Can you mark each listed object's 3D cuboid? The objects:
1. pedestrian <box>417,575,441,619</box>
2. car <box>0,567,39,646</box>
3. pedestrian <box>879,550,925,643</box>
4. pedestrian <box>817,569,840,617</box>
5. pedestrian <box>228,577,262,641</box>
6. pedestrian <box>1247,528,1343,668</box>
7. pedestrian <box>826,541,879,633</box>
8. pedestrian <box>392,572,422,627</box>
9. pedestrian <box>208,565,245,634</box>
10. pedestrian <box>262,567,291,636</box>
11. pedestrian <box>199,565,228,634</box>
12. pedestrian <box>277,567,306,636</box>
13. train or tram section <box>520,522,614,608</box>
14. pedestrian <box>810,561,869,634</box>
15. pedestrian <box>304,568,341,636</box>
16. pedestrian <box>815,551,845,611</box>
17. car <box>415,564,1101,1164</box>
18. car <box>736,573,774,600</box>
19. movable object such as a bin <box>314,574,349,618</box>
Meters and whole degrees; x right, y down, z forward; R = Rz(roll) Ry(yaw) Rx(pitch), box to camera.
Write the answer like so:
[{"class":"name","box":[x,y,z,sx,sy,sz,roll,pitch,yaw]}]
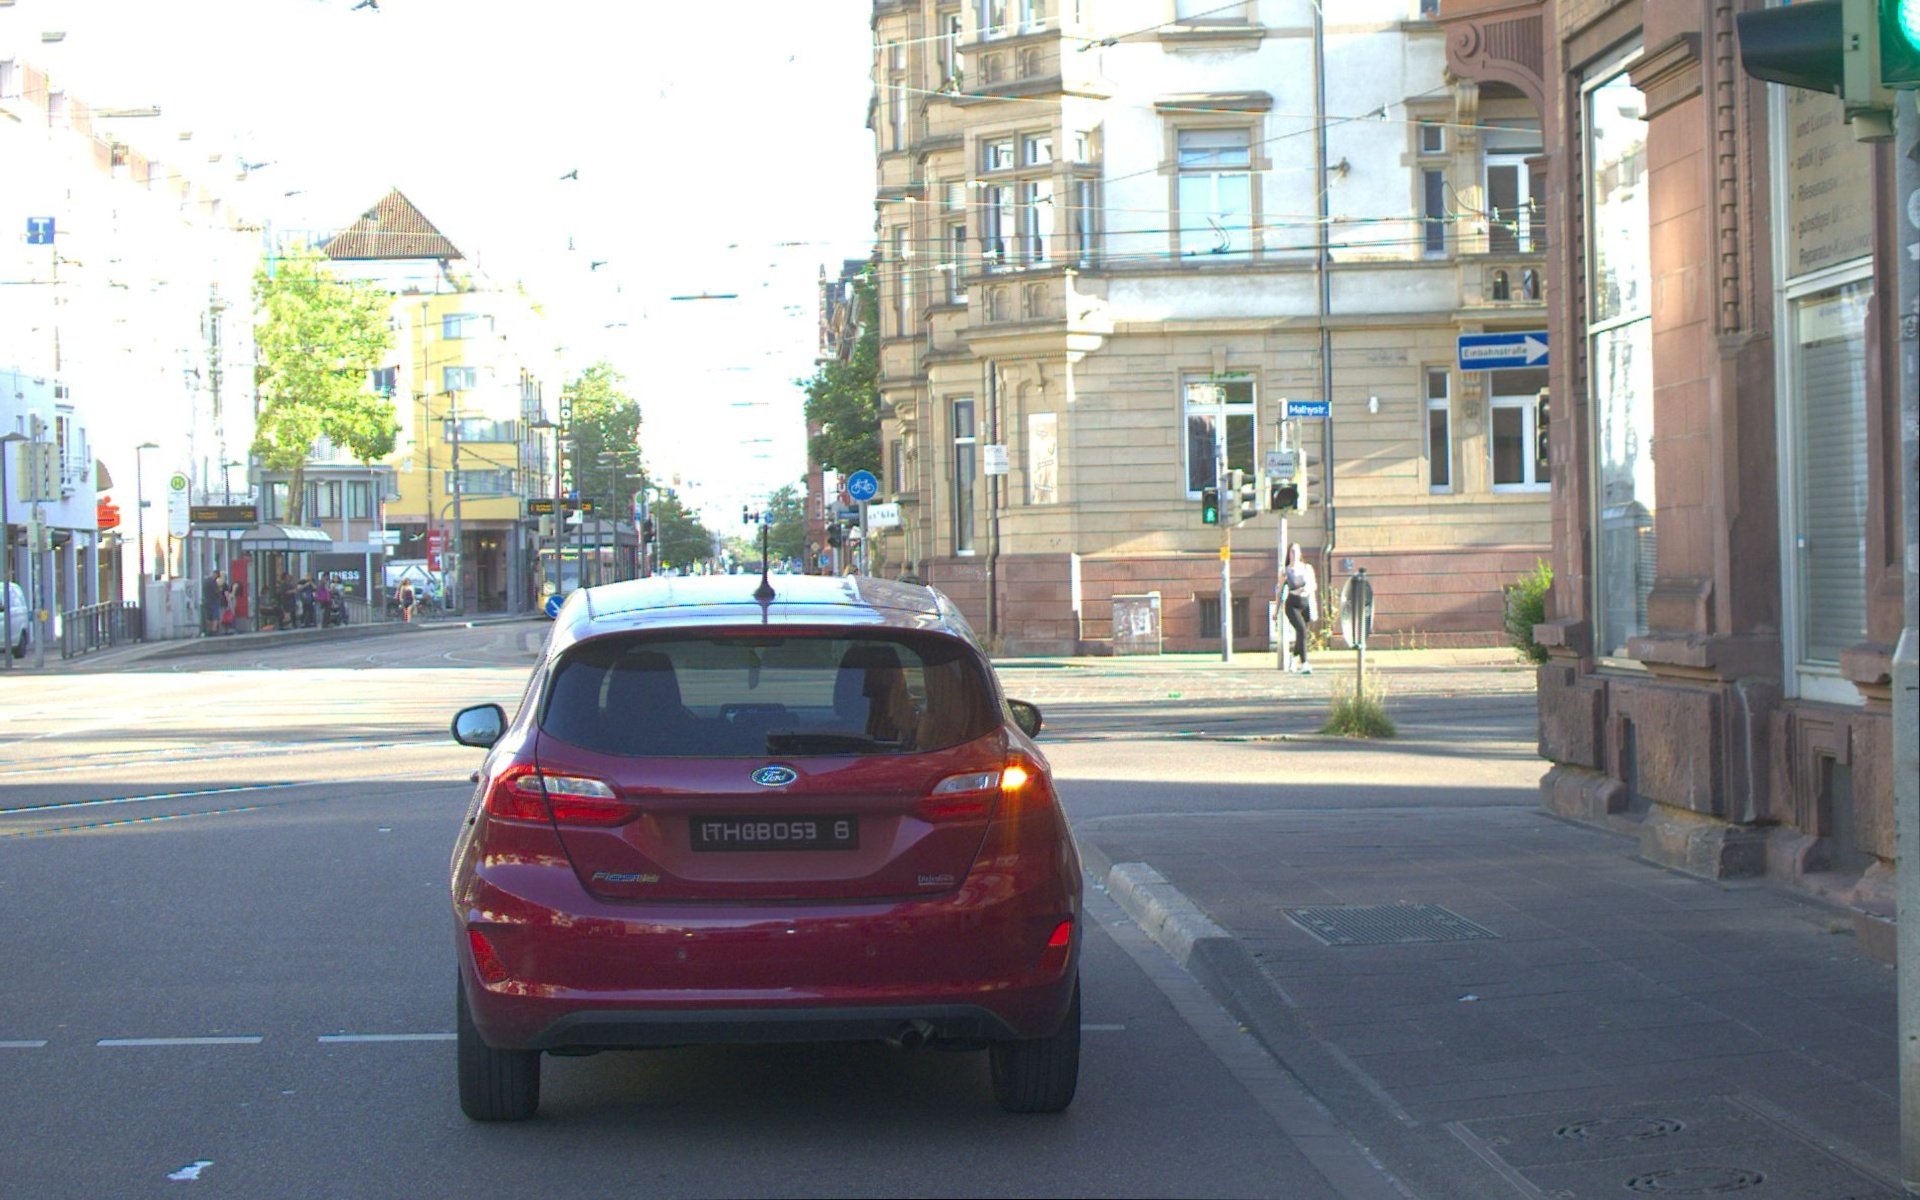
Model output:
[{"class":"pedestrian","box":[-23.414,-0.128,151.681,0.878,1.898,0.935,-1,0,-19]},{"class":"car","box":[-23.513,0.164,81.857,1.993,1.831,5.347,-1,1,-3]},{"class":"pedestrian","box":[-1.179,-0.080,69.573,0.800,1.817,0.797,-3,1,-3]},{"class":"pedestrian","box":[-5.037,-0.280,131.289,0.713,1.768,0.773,-4,2,-6]},{"class":"pedestrian","box":[-18.959,0.239,91.143,0.695,1.685,0.672,-1,0,-26]},{"class":"pedestrian","box":[4.410,-0.032,45.372,1.023,1.801,1.083,-1,1,-6]},{"class":"pedestrian","box":[-2.065,-0.250,65.977,0.794,1.715,0.720,-2,-1,-16]},{"class":"pedestrian","box":[-19.349,-0.029,120.220,0.878,1.898,0.935,-1,0,-19]},{"class":"pedestrian","box":[-18.574,-0.017,87.082,0.765,1.727,0.519,-1,0,39]},{"class":"pedestrian","box":[-18.892,0.038,94.988,0.695,1.898,0.672,-1,0,-5]},{"class":"pedestrian","box":[-18.477,-0.019,85.079,0.599,1.686,0.613,-1,0,-3]},{"class":"pedestrian","box":[-18.650,0.041,95.868,0.695,1.898,0.672,-1,0,-5]},{"class":"train or tram section","box":[-16.884,-1.490,148.540,2.885,3.478,14.169,-1,0,-2]},{"class":"pedestrian","box":[-2.280,-0.045,65.123,0.719,1.327,0.795,-3,-1,43]},{"class":"pedestrian","box":[-18.047,0.049,97.395,0.931,1.898,0.881,-1,0,-5]},{"class":"pedestrian","box":[-3.673,-0.538,97.022,0.762,1.640,0.832,-3,1,-3]},{"class":"car","box":[-0.654,0.651,10.384,1.692,1.490,3.580,1,0,-5]},{"class":"car","box":[-11.091,-0.725,186.087,1.993,1.444,4.000,-1,1,-3]},{"class":"movable object such as a bin","box":[-18.940,-0.121,103.675,0.937,1.282,0.935,-1,0,-5]}]
